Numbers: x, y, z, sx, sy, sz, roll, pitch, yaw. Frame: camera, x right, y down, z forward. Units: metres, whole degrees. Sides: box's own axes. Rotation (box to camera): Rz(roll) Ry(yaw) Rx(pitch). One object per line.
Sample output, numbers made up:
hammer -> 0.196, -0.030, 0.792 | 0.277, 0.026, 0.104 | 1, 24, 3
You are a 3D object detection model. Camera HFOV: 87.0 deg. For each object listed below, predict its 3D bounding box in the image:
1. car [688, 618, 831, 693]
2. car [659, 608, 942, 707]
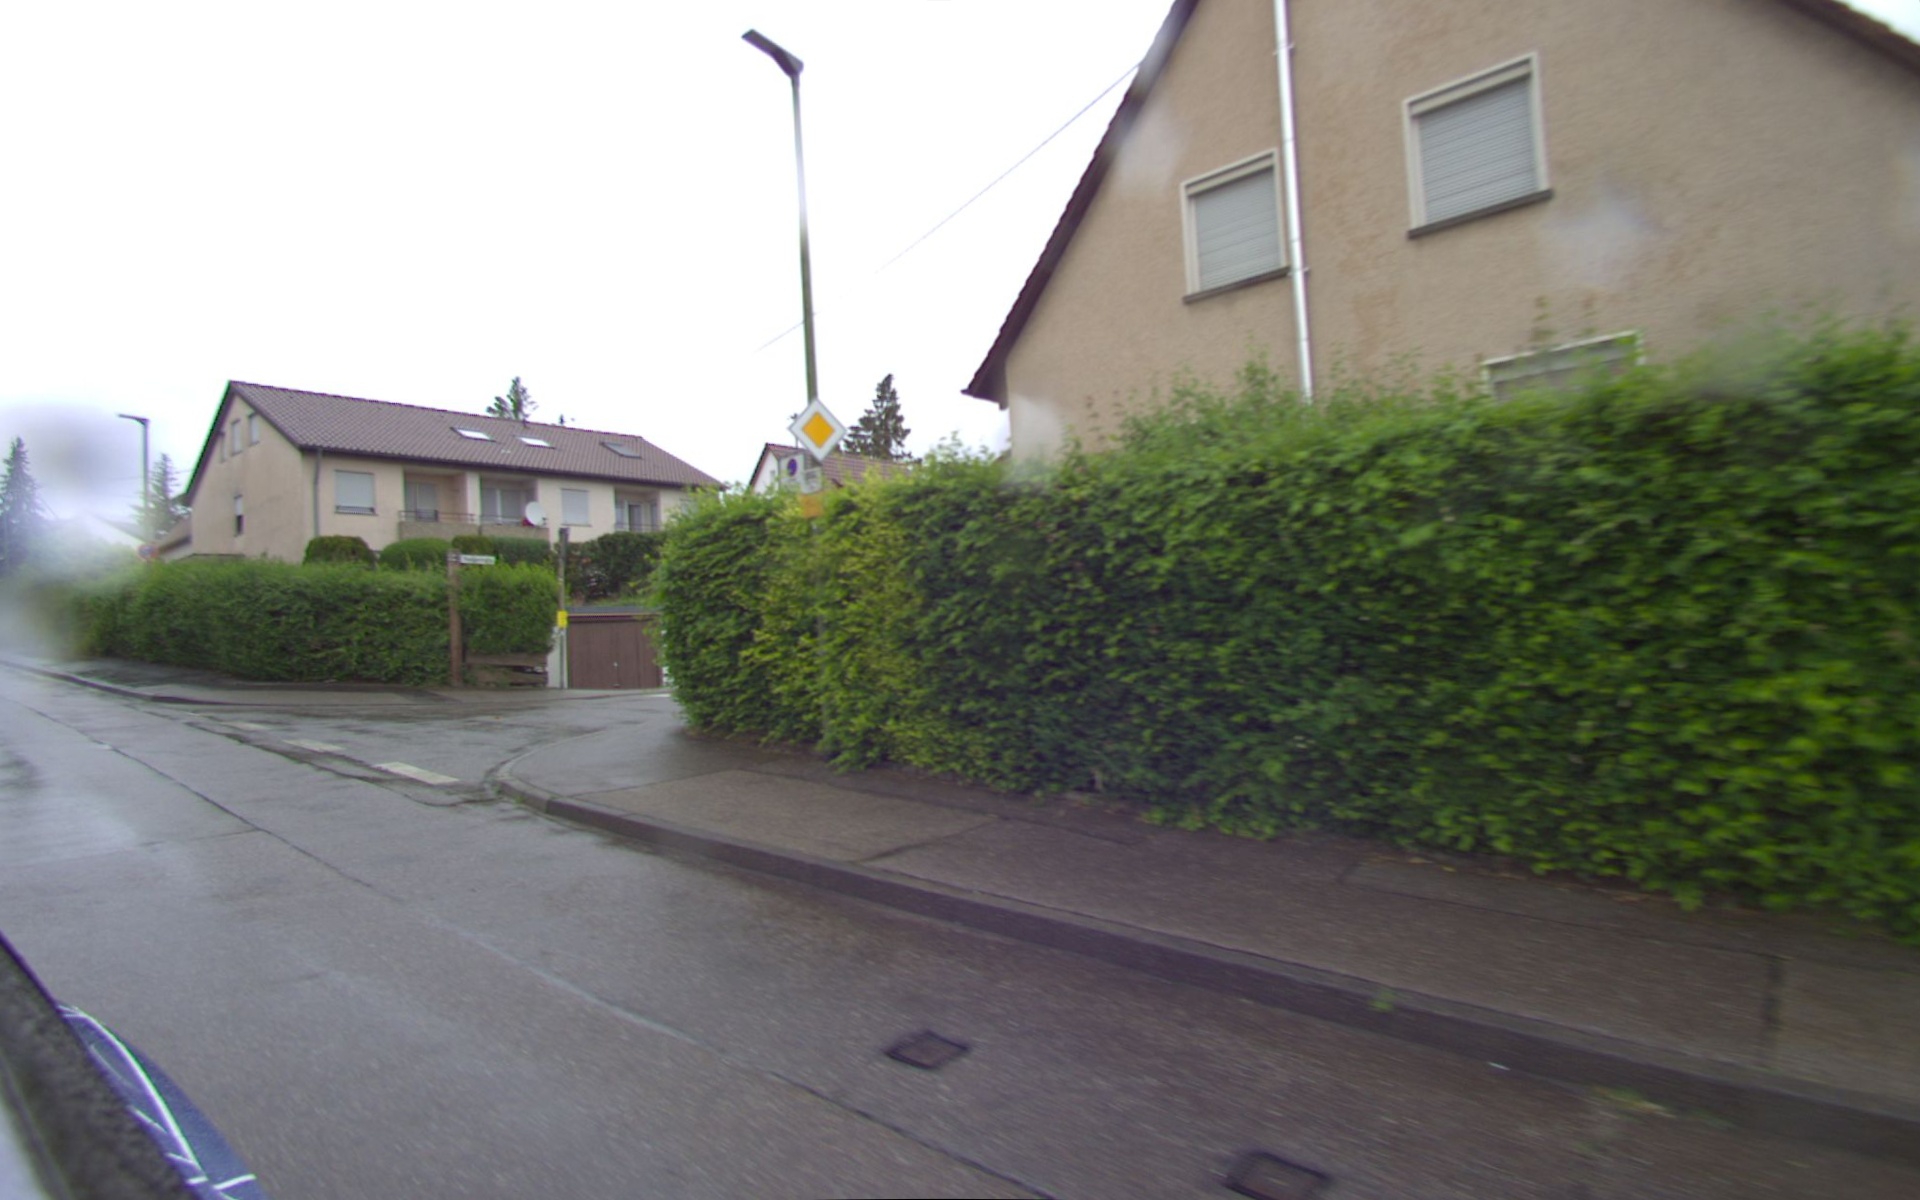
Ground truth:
car -> -5.207, 1.459, 26.156 | 3.439, 1.468, 1.701 | -11, -9, 37
car -> -2.510, 0.856, 16.911 | 1.893, 1.409, 4.534 | -2, -1, 41
